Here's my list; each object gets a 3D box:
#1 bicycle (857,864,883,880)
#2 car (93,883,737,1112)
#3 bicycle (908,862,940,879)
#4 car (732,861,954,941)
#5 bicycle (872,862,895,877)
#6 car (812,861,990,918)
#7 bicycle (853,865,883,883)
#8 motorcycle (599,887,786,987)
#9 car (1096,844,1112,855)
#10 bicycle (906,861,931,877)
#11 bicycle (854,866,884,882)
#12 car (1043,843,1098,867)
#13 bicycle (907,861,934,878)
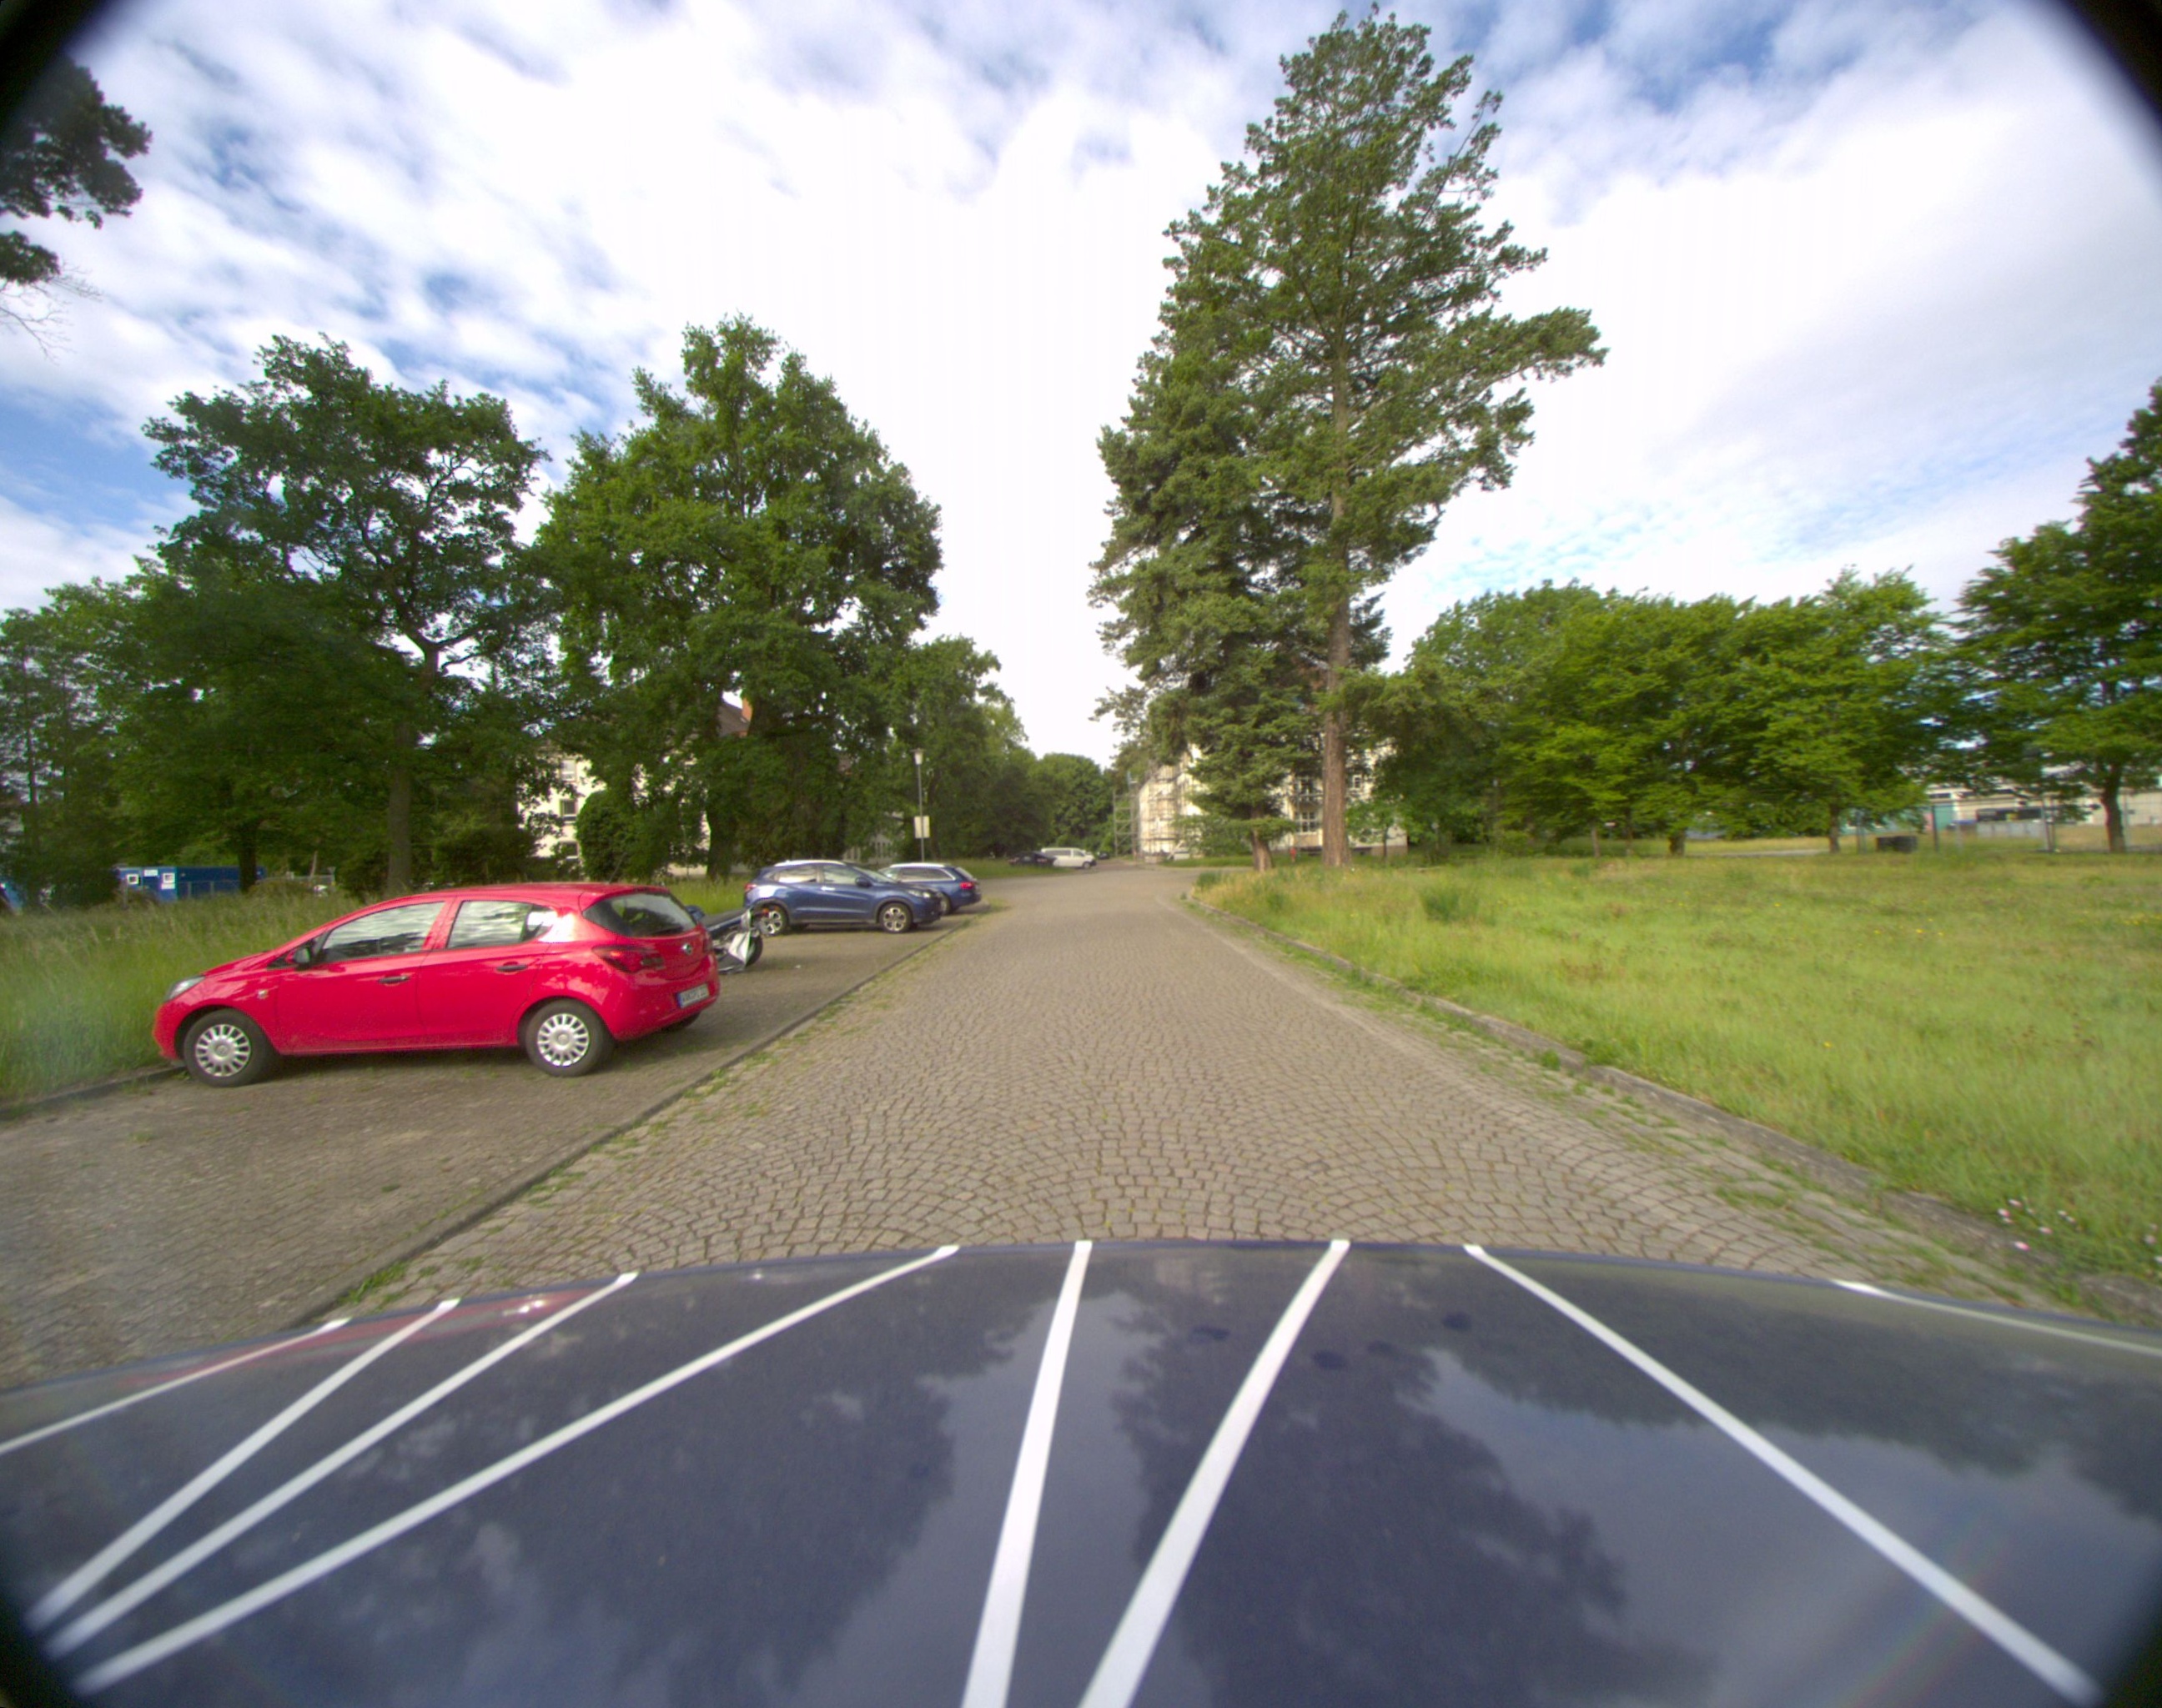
[{"bbox_3d":[-14.554,1.236,52.405,1.568,1.082,0.561,-2,1,-30],"label":"bicycle"},{"bbox_3d":[-5.266,1.083,6.452,3.849,1.497,1.738,-1,1,-1],"label":"car"},{"bbox_3d":[-10.638,1.114,51.537,2.020,1.082,0.478,-2,3,-22],"label":"bicycle"},{"bbox_3d":[-5.113,0.985,16.792,4.274,1.564,1.895,-1,0,0],"label":"car"},{"bbox_3d":[-14.277,1.135,54.905,1.568,1.028,0.475,-2,1,-24],"label":"bicycle"},{"bbox_3d":[-5.005,0.985,21.568,4.515,1.456,1.896,-1,0,4],"label":"car"},{"bbox_3d":[-14.088,1.322,50.267,1.815,1.082,0.478,-3,3,-27],"label":"bicycle"},{"bbox_3d":[-5.491,1.156,10.835,2.271,1.267,0.605,-2,1,-5],"label":"motorcycle"},{"bbox_3d":[4.117,-0.744,136.504,2.029,1.915,3.996,-2,0,-11],"label":"car"},{"bbox_3d":[-12.034,1.129,56.252,1.753,1.082,0.552,-2,3,-22],"label":"bicycle"},{"bbox_3d":[-14.187,1.340,50.842,1.859,0.984,0.455,-2,1,-27],"label":"bicycle"},{"bbox_3d":[-0.959,0.093,70.261,4.916,1.983,1.999,-2,1,-2],"label":"car"},{"bbox_3d":[-11.749,1.127,55.525,1.810,1.082,0.552,-2,3,-22],"label":"bicycle"}]
